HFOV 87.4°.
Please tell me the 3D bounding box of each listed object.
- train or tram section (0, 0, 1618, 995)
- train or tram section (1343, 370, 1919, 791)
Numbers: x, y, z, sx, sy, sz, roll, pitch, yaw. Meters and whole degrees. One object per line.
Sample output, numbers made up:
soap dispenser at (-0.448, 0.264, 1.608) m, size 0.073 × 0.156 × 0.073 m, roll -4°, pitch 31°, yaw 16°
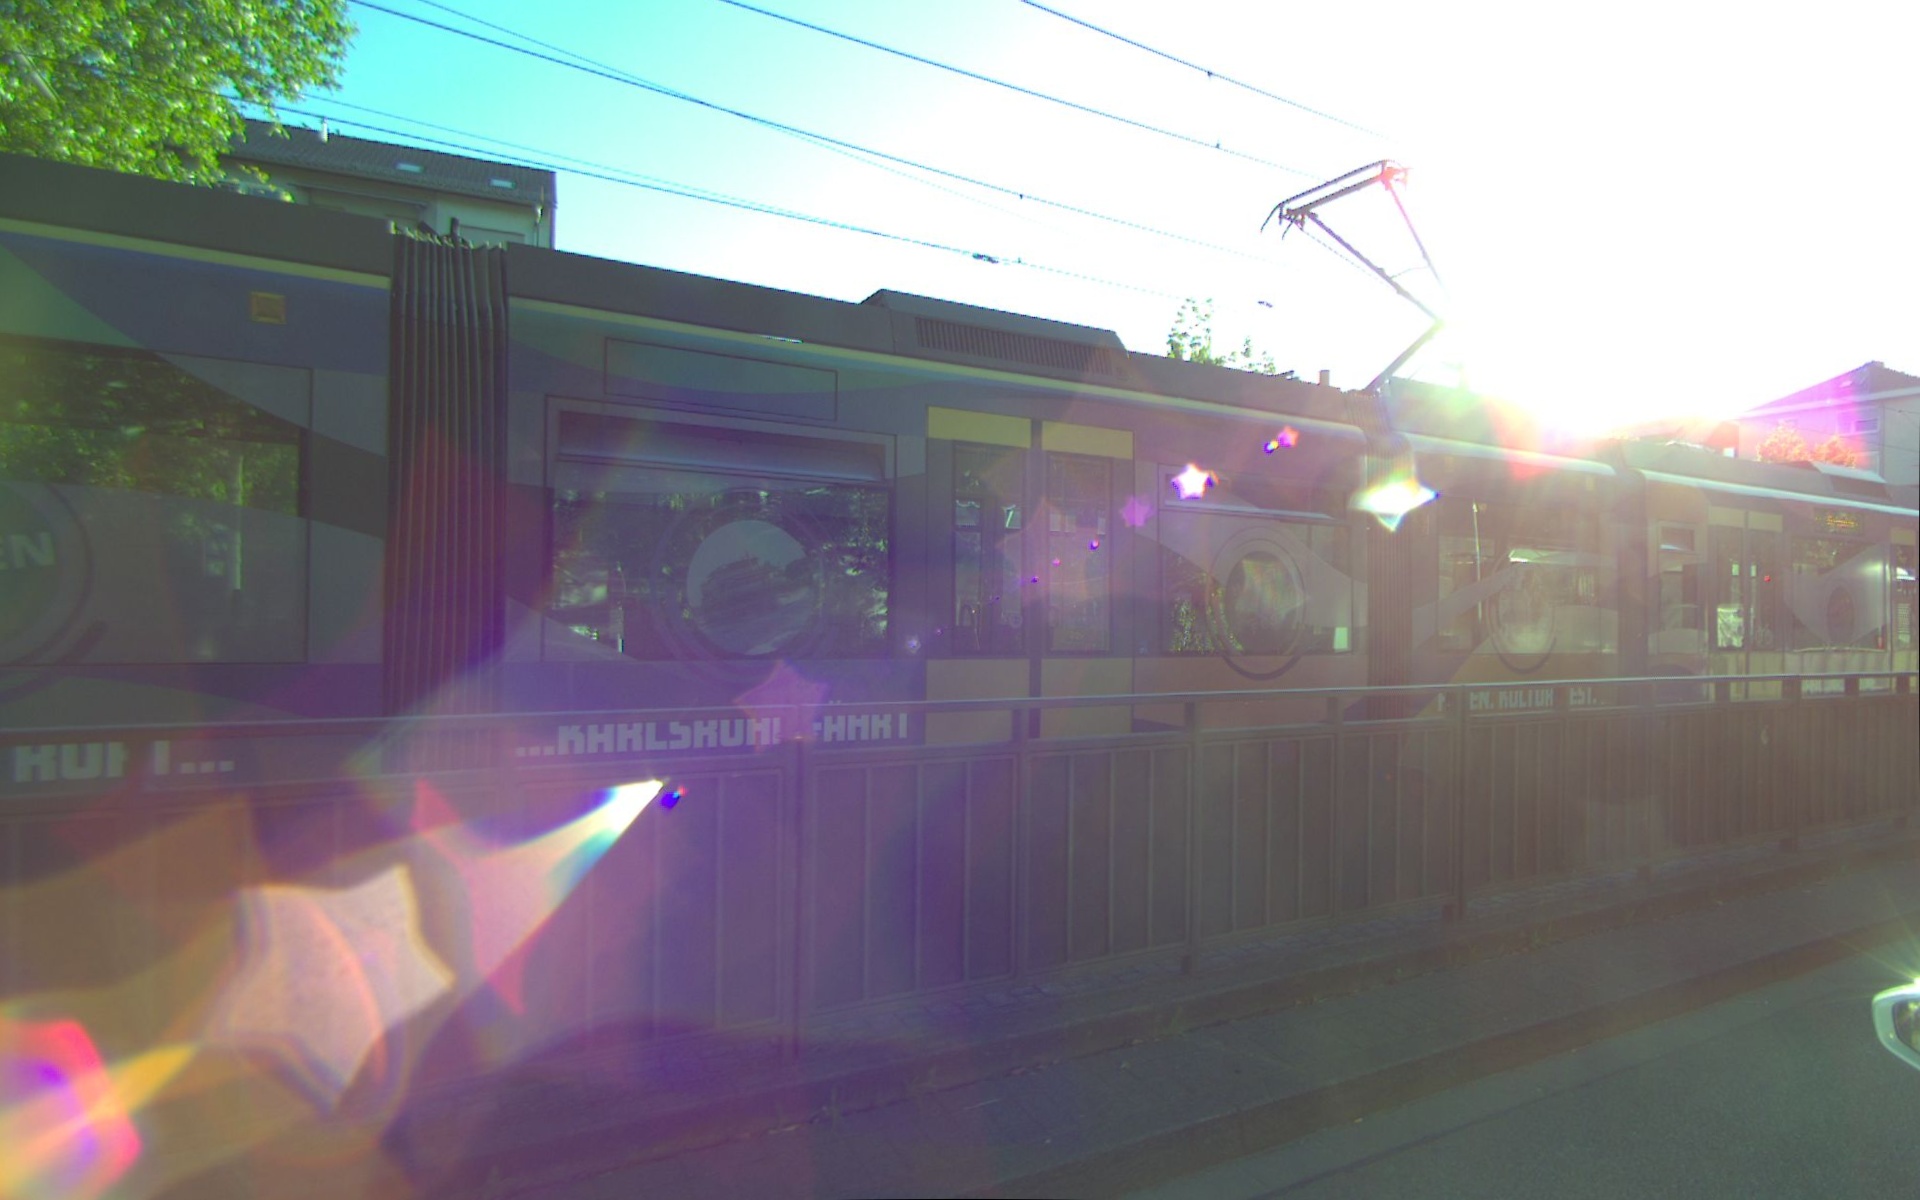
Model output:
train or tram section at (-0.610, -0.292, 6.689) m, size 12.626 × 3.596 × 2.717 m, roll 1°, pitch -1°, yaw -29°
train or tram section at (10.532, -0.021, 12.823) m, size 13.168 × 3.566 × 2.630 m, roll 1°, pitch -1°, yaw -29°
